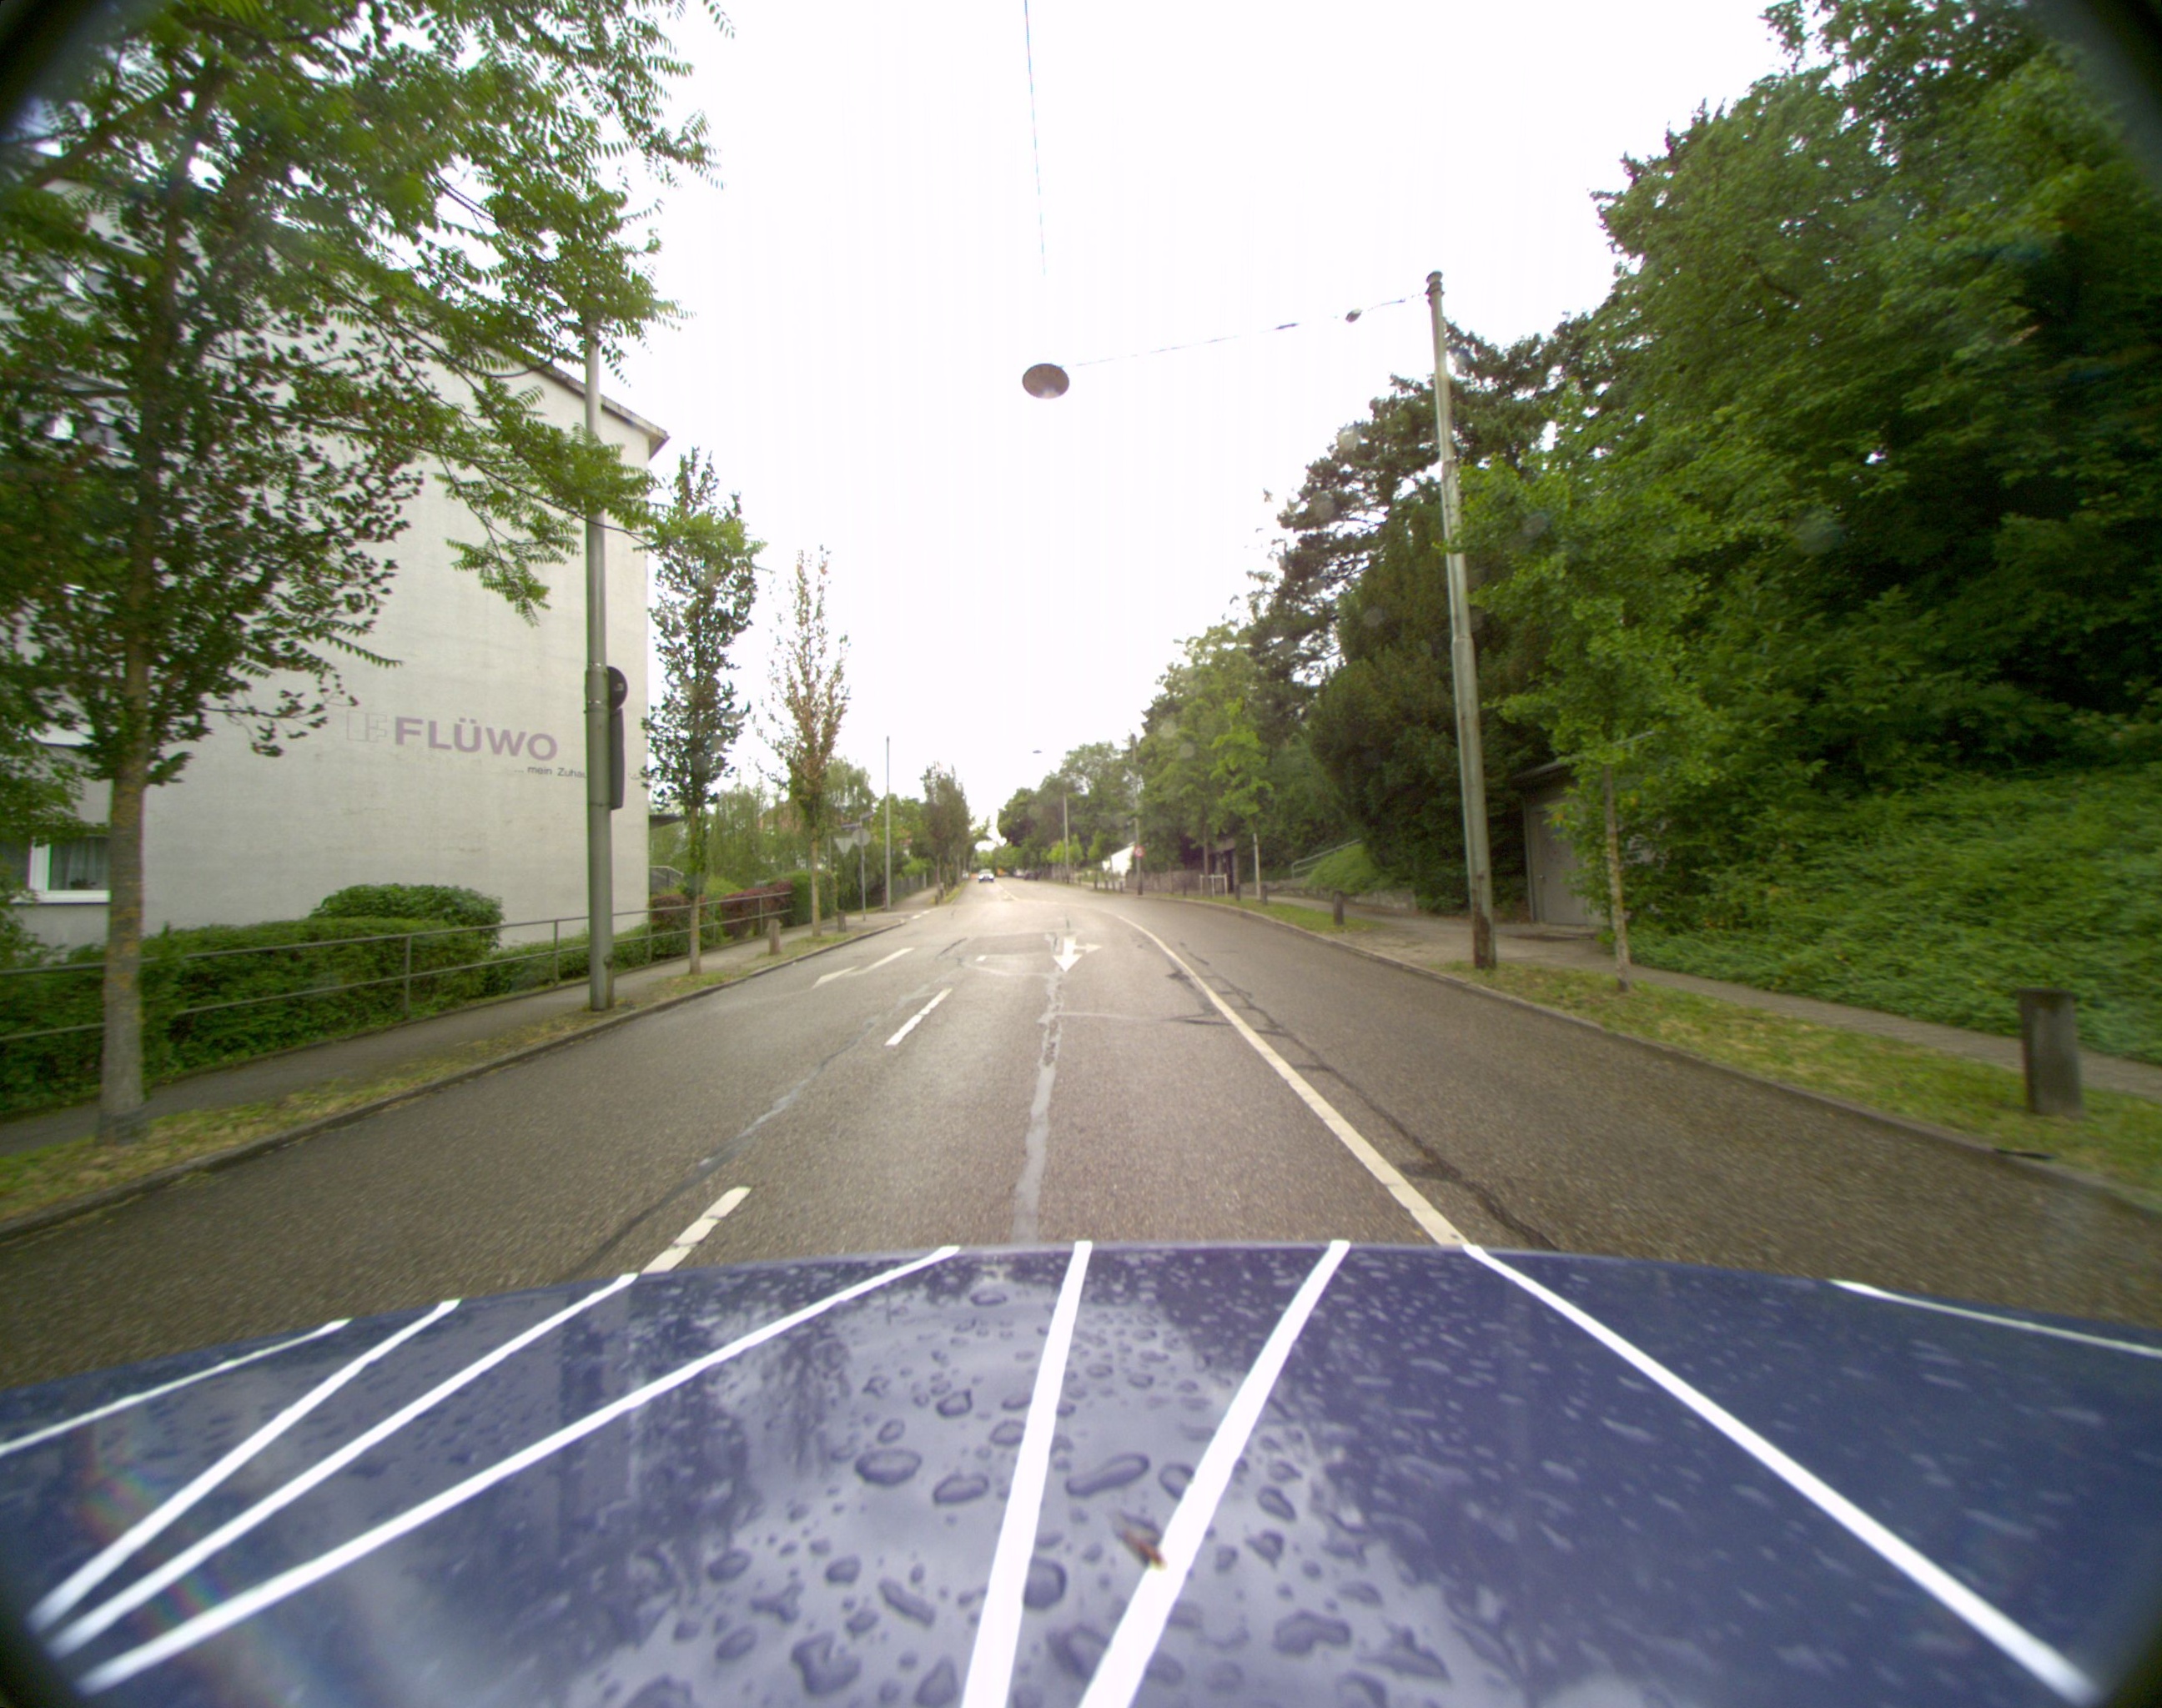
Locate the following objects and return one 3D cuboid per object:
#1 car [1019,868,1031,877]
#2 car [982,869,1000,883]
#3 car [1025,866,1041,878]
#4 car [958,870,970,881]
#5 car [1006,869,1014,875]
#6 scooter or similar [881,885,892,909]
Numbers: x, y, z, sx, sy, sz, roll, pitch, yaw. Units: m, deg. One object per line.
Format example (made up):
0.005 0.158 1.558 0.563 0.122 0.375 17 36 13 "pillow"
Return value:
-9.244 3.103 126.242 1.771 1.477 3.799 1 -1 -7 "car"
-11.555 2.823 97.751 1.999 1.673 3.999 -5 -1 -5 "car"
-6.538 2.406 103.767 1.917 1.575 4.584 1 -1 -7 "car"
-18.192 3.278 118.073 1.830 1.620 3.997 -2 0 -9 "car"
-18.550 4.672 198.488 1.751 1.539 3.915 1 -1 -8 "car"
-10.698 2.353 41.795 0.344 1.247 1.266 -5 1 -9 "scooter or similar"
